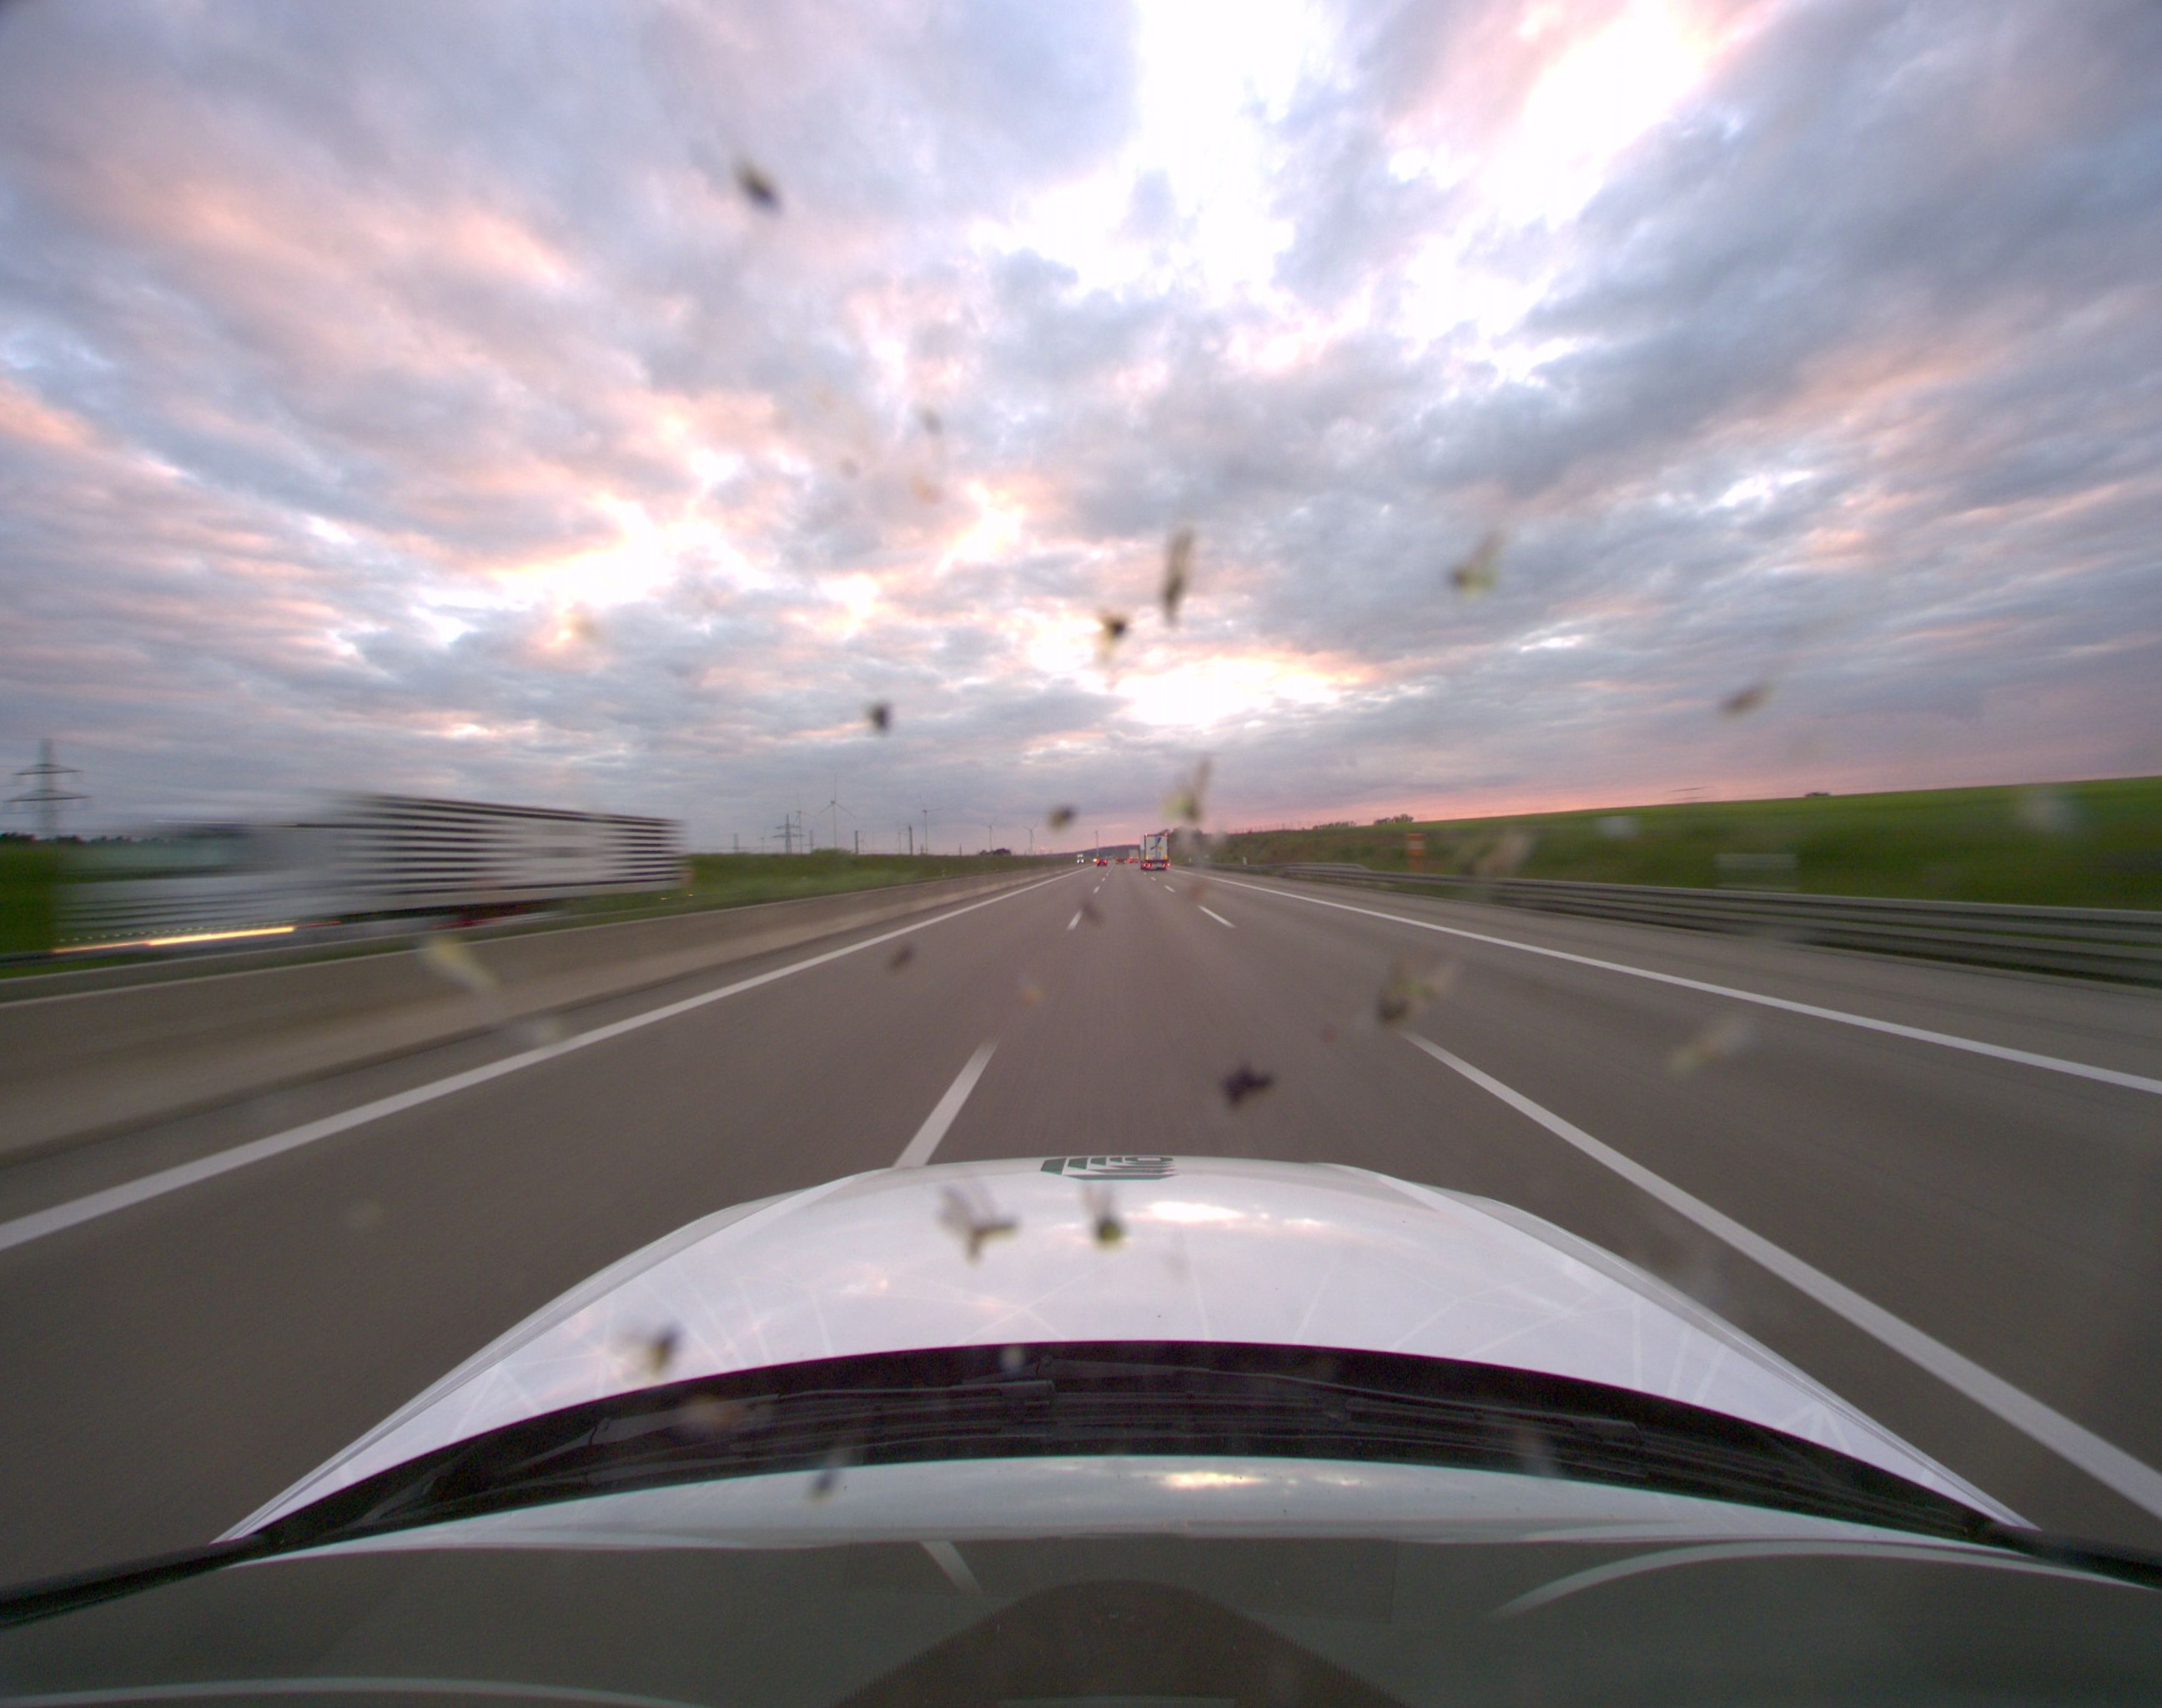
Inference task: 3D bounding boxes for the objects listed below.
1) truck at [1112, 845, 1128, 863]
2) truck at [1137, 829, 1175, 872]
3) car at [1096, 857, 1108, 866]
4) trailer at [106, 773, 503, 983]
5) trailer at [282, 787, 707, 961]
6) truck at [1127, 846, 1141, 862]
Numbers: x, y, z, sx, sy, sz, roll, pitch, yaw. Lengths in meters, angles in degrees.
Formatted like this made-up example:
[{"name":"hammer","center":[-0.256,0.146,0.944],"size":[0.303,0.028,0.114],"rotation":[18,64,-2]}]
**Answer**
[{"name":"truck","center":[9.773,-0.015,204.657],"size":[3.633,4.414,8.640],"rotation":[-1,0,2]},{"name":"truck","center":[8.537,-0.357,94.254],"size":[3.661,4.564,10.987],"rotation":[-2,0,2]},{"name":"car","center":[3.735,1.392,144.395],"size":[1.979,1.429,4.004],"rotation":[-3,0,3]},{"name":"trailer","center":[-18.298,0.505,20.056],"size":[2.676,4.114,6.944],"rotation":[-4,-1,3]},{"name":"trailer","center":[-17.953,0.532,27.655],"size":[2.676,4.114,15.119],"rotation":[-4,0,3]},{"name":"truck","center":[15.472,0.059,239.180],"size":[3.949,4.414,8.643],"rotation":[-1,0,3]}]
